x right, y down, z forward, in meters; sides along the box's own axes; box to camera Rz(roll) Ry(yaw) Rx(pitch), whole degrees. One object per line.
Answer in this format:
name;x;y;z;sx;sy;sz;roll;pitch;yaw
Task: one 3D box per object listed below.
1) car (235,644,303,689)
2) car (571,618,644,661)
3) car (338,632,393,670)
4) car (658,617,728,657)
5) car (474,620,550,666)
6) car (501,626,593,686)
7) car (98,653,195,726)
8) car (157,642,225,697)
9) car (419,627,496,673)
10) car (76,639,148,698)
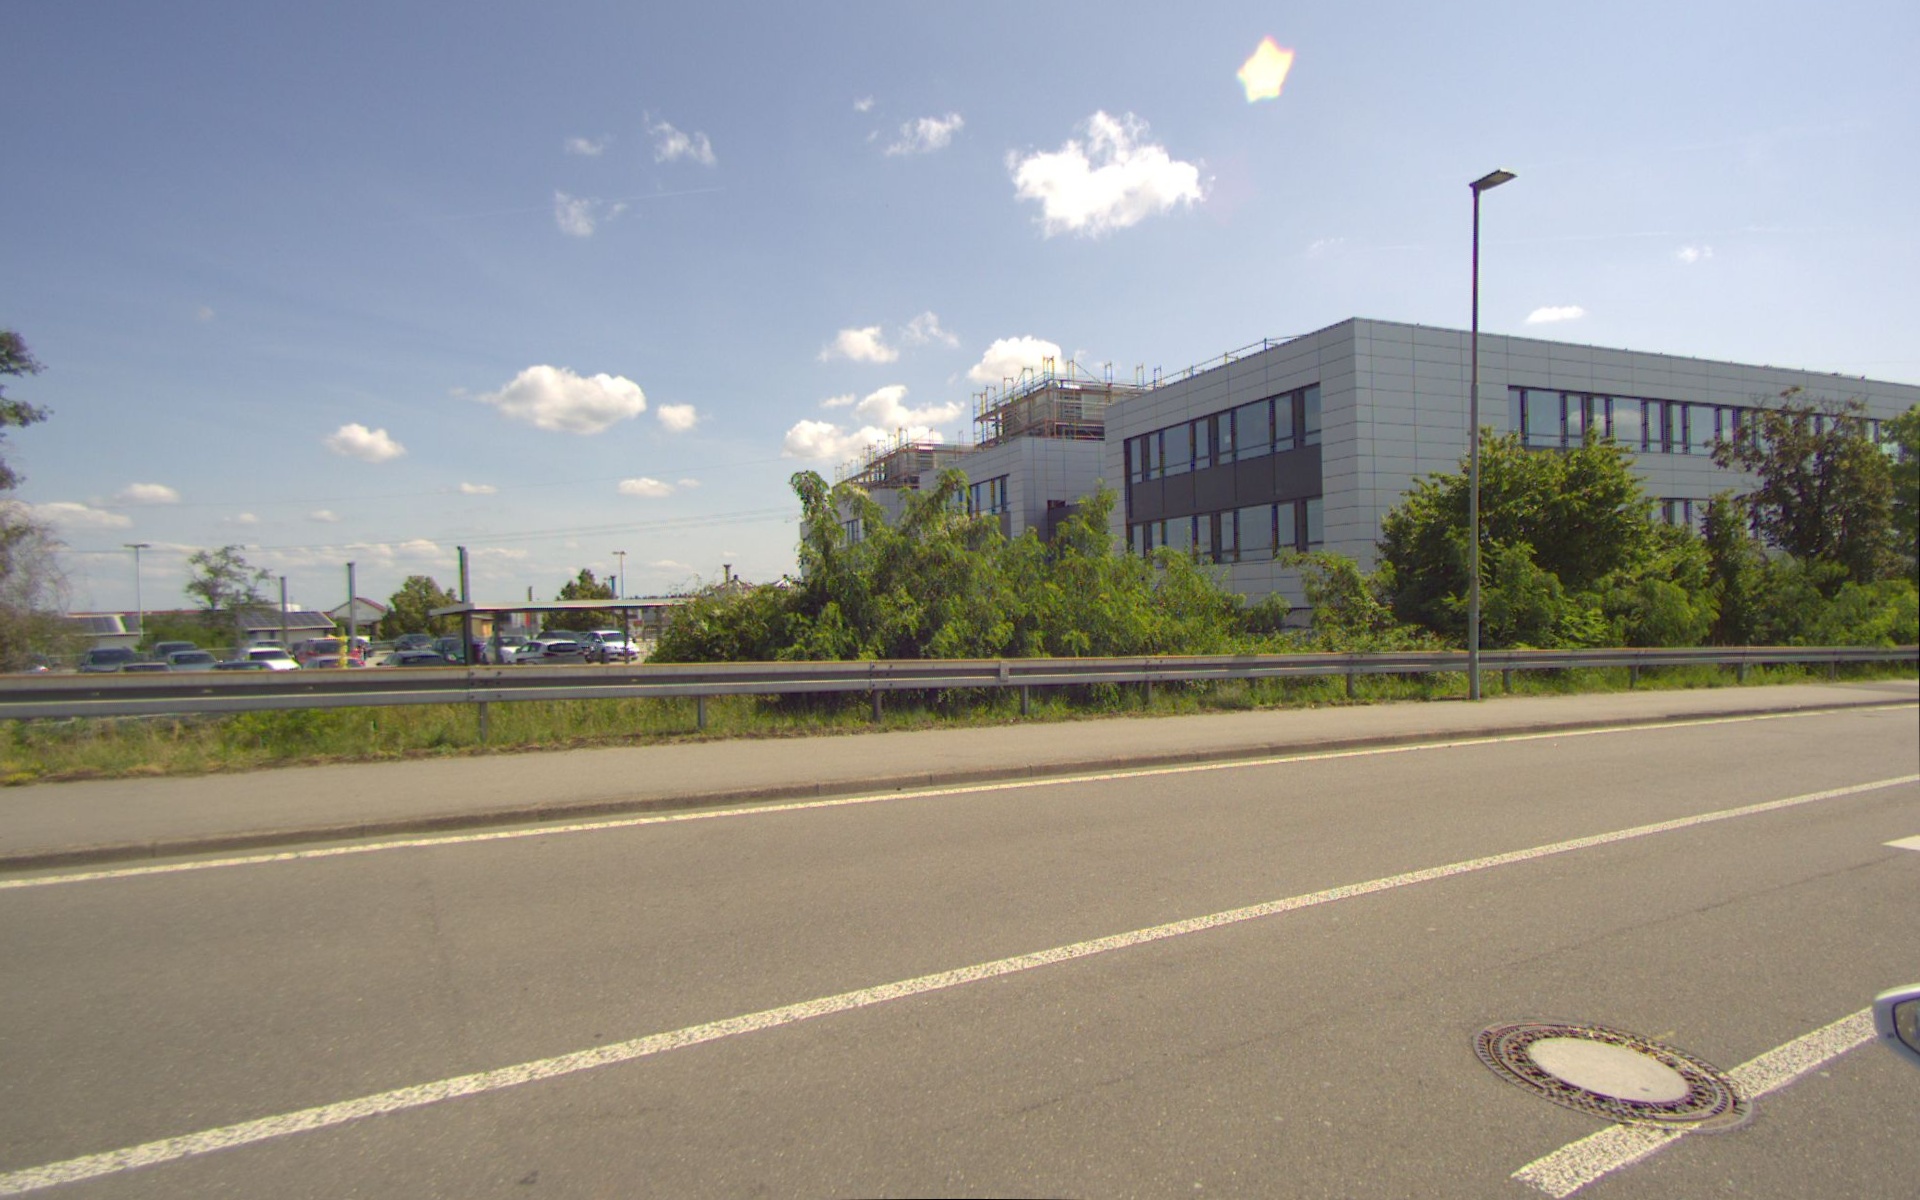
car;-28.448;2.700;41.292;1.983;1.706;3.955;1;-3;-39
car;-18.282;2.000;51.988;3.945;2.041;1.987;-1;1;44
car;-35.309;3.000;59.590;3.942;2.040;1.686;0;-1;42
car;-14.833;2.007;55.792;3.945;2.041;1.987;-1;1;44
car;-21.764;2.024;48.745;3.945;2.041;1.987;-1;1;44
car;-16.211;2.130;39.322;1.947;2.041;3.947;-3;2;-45
car;-25.671;2.749;31.640;1.948;1.895;3.947;-3;1;-45
car;-30.306;2.693;39.546;1.983;2.040;3.955;1;-3;-39
car;-23.508;2.272;46.937;3.945;1.929;1.987;-1;1;44
car;-32.184;2.565;38.214;1.983;2.040;3.955;-2;-1;-39
